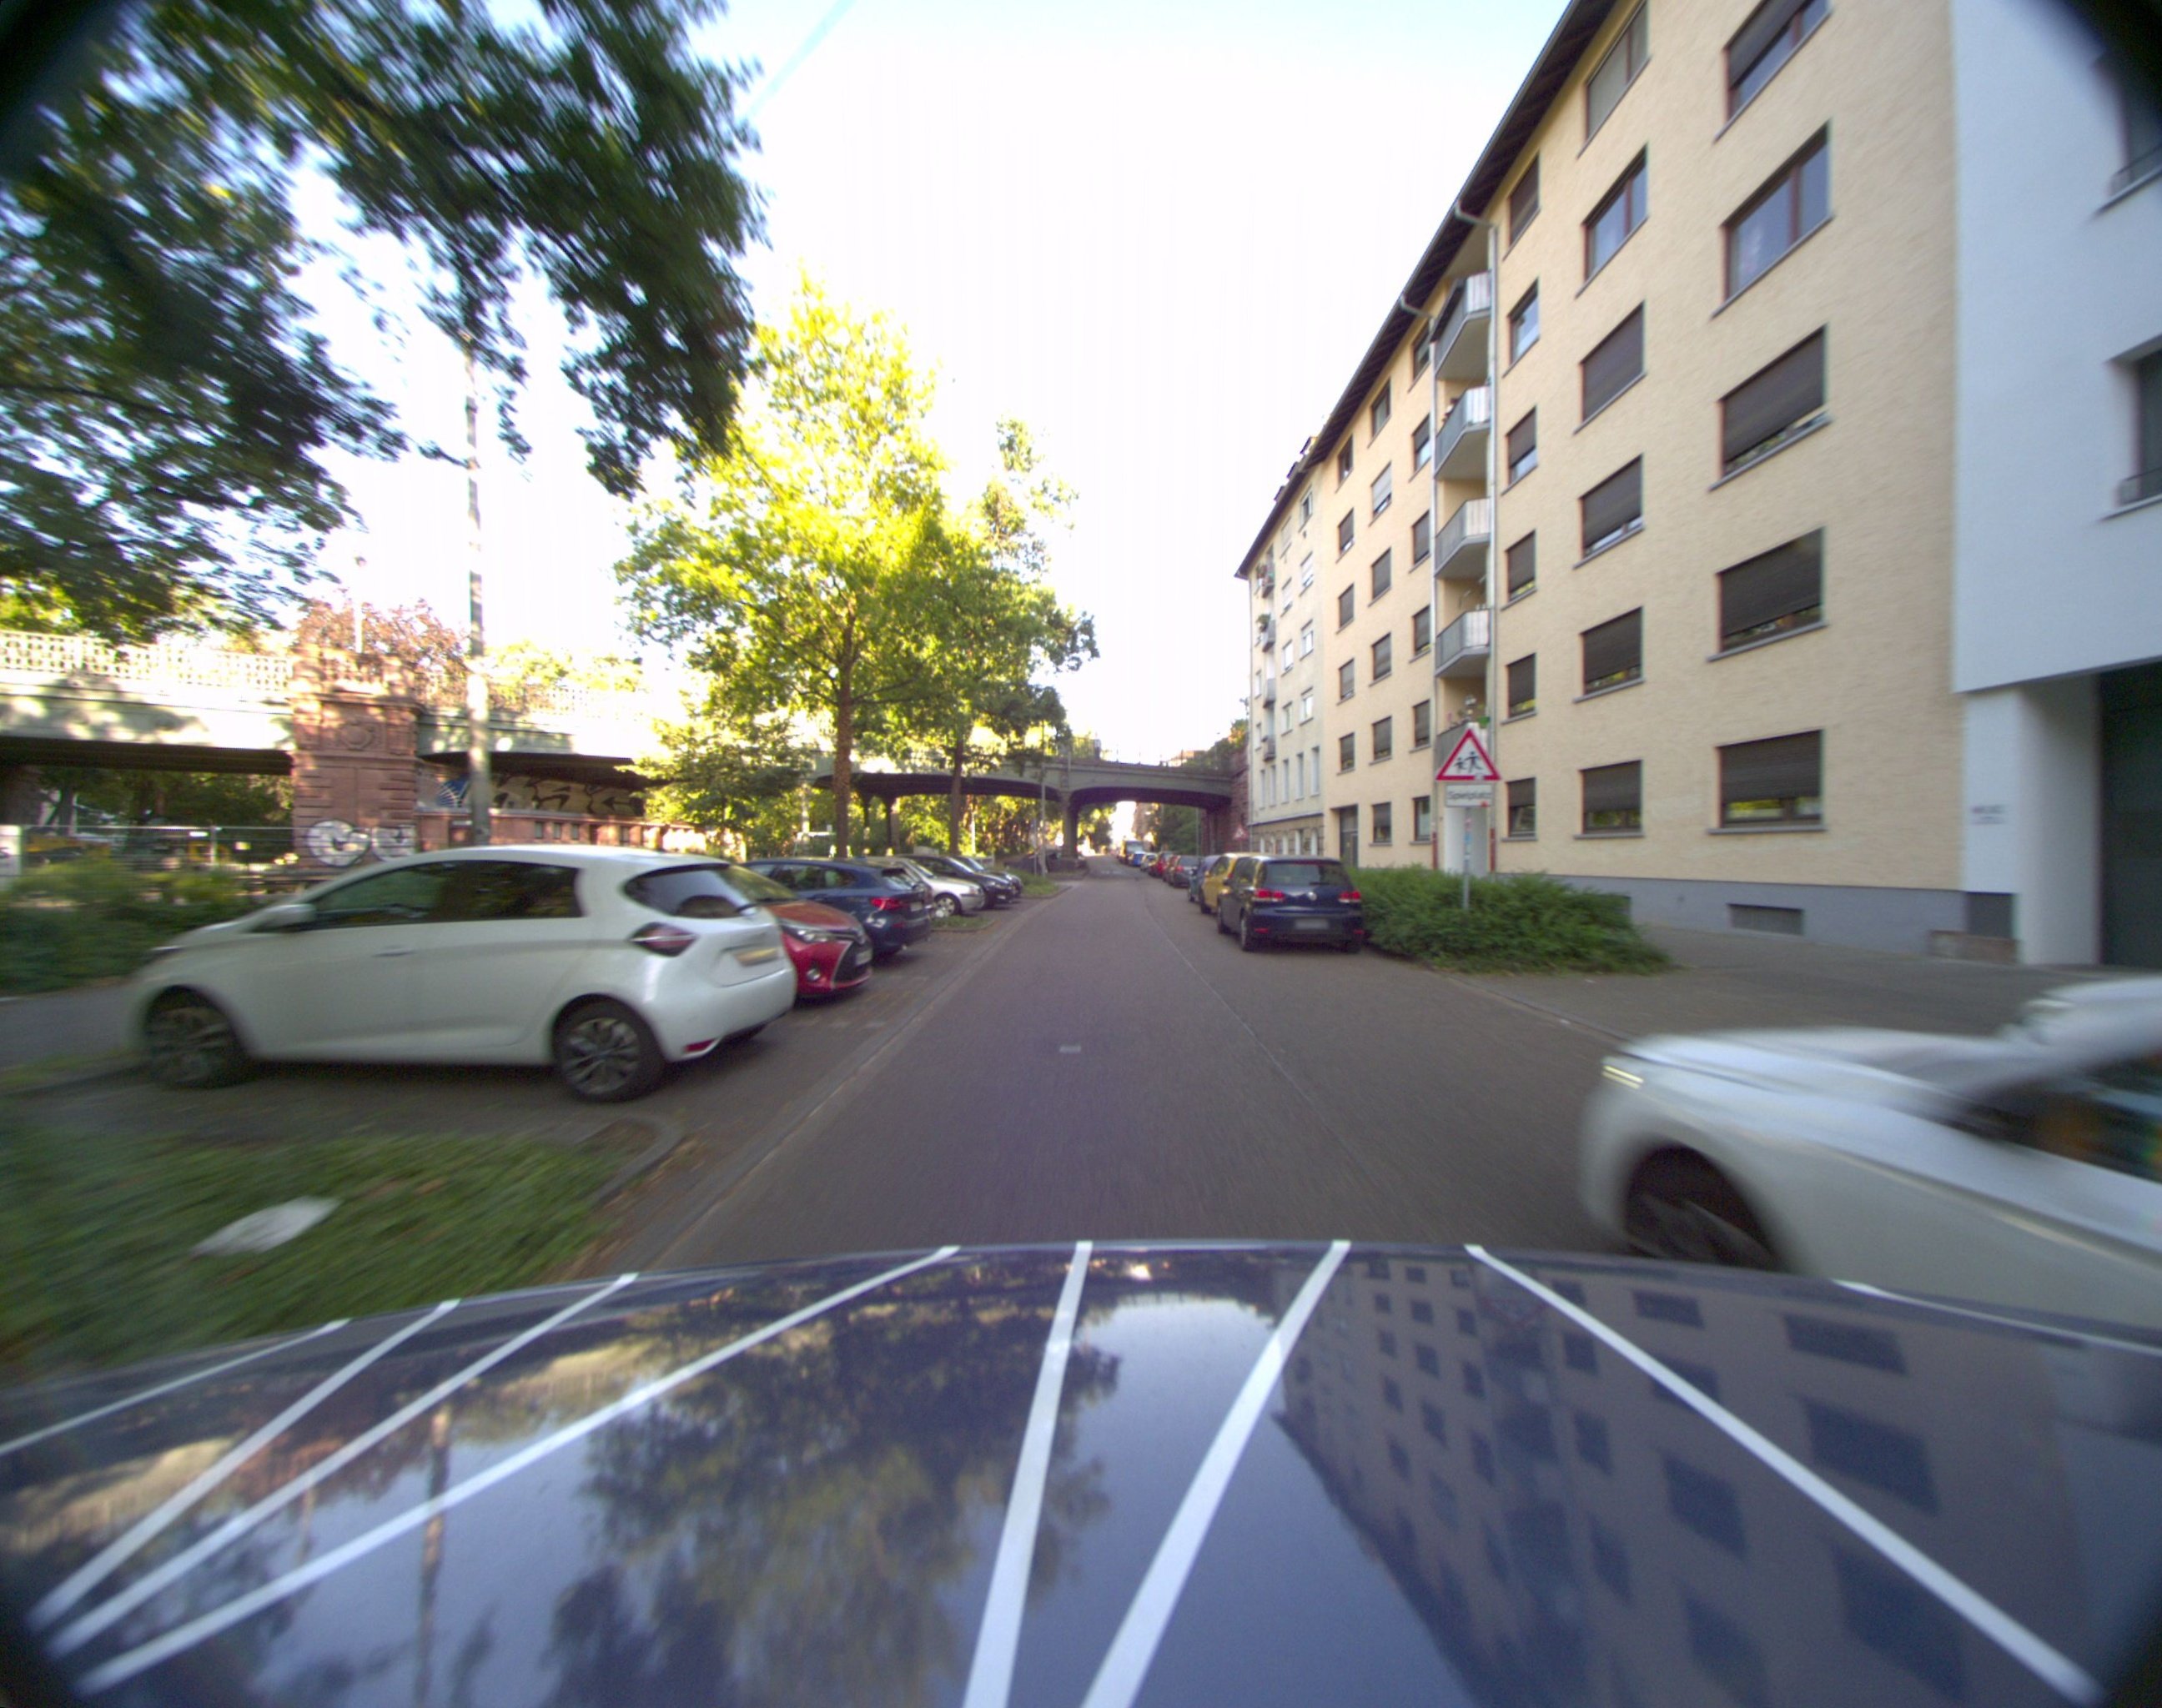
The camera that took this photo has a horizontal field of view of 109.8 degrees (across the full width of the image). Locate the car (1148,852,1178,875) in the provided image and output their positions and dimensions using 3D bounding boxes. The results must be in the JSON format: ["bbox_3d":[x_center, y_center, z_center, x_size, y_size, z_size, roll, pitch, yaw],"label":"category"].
[{"bbox_3d":[5.645,0.608,52.619,1.721,1.456,4.000,1,1,2],"label":"car"}]

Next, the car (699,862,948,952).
[{"bbox_3d":[-4.356,0.889,13.337,3.792,1.393,1.765,0,2,-3],"label":"car"}]

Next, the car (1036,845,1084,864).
[{"bbox_3d":[-2.052,0.056,73.626,4.544,1.686,1.907,-1,2,-1],"label":"car"}]

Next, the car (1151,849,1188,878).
[{"bbox_3d":[5.441,0.535,47.335,1.721,1.698,4.321,1,1,-1],"label":"car"}]

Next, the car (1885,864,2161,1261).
[{"bbox_3d":[5.118,0.845,2.040,1.672,1.499,4.000,-3,0,1],"label":"car"}]

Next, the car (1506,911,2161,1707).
[{"bbox_3d":[2.480,0.924,0.712,1.673,1.422,3.999,2,-1,-4],"label":"car"}]

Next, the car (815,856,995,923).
[{"bbox_3d":[-4.013,0.799,17.760,3.791,1.393,1.664,1,2,1],"label":"car"}]

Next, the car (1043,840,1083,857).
[{"bbox_3d":[-2.186,-0.685,90.873,4.683,1.914,1.871,2,2,0],"label":"car"}]

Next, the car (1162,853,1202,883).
[{"bbox_3d":[5.237,0.685,39.799,1.693,1.433,4.000,0,1,2],"label":"car"}]

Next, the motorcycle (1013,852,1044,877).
[{"bbox_3d":[-3.051,0.626,43.936,1.601,1.400,0.713,-1,3,21],"label":"motorcycle"}]

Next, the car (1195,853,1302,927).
[{"bbox_3d":[3.786,0.753,17.736,1.707,1.516,3.773,0,1,1],"label":"car"}]

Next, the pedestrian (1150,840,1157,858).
[{"bbox_3d":[8.172,-0.573,85.875,0.639,1.904,1.046,-2,2,-5],"label":"pedestrian"}]

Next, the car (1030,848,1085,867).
[{"bbox_3d":[-1.983,0.265,65.803,4.596,1.597,1.734,0,2,5],"label":"car"}]

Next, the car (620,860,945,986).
[{"bbox_3d":[-3.949,0.860,10.394,3.789,1.439,1.664,1,2,7],"label":"car"}]

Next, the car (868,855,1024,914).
[{"bbox_3d":[-3.532,0.779,20.388,3.791,1.393,1.827,1,2,2],"label":"car"}]

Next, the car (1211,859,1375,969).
[{"bbox_3d":[3.297,0.846,12.616,1.743,1.471,4.000,1,0,3],"label":"car"}]

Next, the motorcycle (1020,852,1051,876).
[{"bbox_3d":[-2.673,0.588,44.838,1.601,1.400,0.713,-1,3,21],"label":"motorcycle"}]

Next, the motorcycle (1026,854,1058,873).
[{"bbox_3d":[-2.532,0.581,49.132,1.839,1.126,0.849,-2,2,-22],"label":"motorcycle"}]

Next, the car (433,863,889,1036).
[{"bbox_3d":[-4.107,0.880,7.834,3.790,1.465,1.664,1,2,4],"label":"car"}]

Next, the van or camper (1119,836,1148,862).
[{"bbox_3d":[5.398,-0.573,79.024,2.242,2.509,6.418,-1,2,-2],"label":"van or camper"}]

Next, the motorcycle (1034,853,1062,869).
[{"bbox_3d":[-2.319,0.494,53.175,1.729,1.024,0.810,-3,3,-33],"label":"motorcycle"}]

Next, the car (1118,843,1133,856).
[{"bbox_3d":[5.417,-0.587,93.259,1.703,1.489,4.549,1,2,3],"label":"car"}]

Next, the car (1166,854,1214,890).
[{"bbox_3d":[4.893,0.765,34.485,1.640,1.458,4.000,3,1,2],"label":"car"}]

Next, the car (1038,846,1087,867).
[{"bbox_3d":[-1.679,0.192,68.553,4.386,1.699,1.906,-1,2,-3],"label":"car"}]

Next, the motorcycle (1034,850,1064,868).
[{"bbox_3d":[-2.307,0.352,54.862,1.938,1.231,0.902,-2,2,-24],"label":"motorcycle"}]

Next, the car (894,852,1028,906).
[{"bbox_3d":[-3.498,0.725,22.704,3.792,1.464,1.634,0,2,-3],"label":"car"}]

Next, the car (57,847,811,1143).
[{"bbox_3d":[-4.073,0.807,5.249,3.791,1.637,1.664,1,2,2],"label":"car"}]

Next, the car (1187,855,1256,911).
[{"bbox_3d":[4.160,0.797,22.978,1.570,1.509,3.782,0,1,3],"label":"car"}]

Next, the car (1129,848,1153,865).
[{"bbox_3d":[5.666,0.241,72.751,1.749,1.458,4.373,-1,2,-2],"label":"car"}]

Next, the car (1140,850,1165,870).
[{"bbox_3d":[5.911,0.492,63.168,1.599,1.538,3.913,1,1,-2],"label":"car"}]
